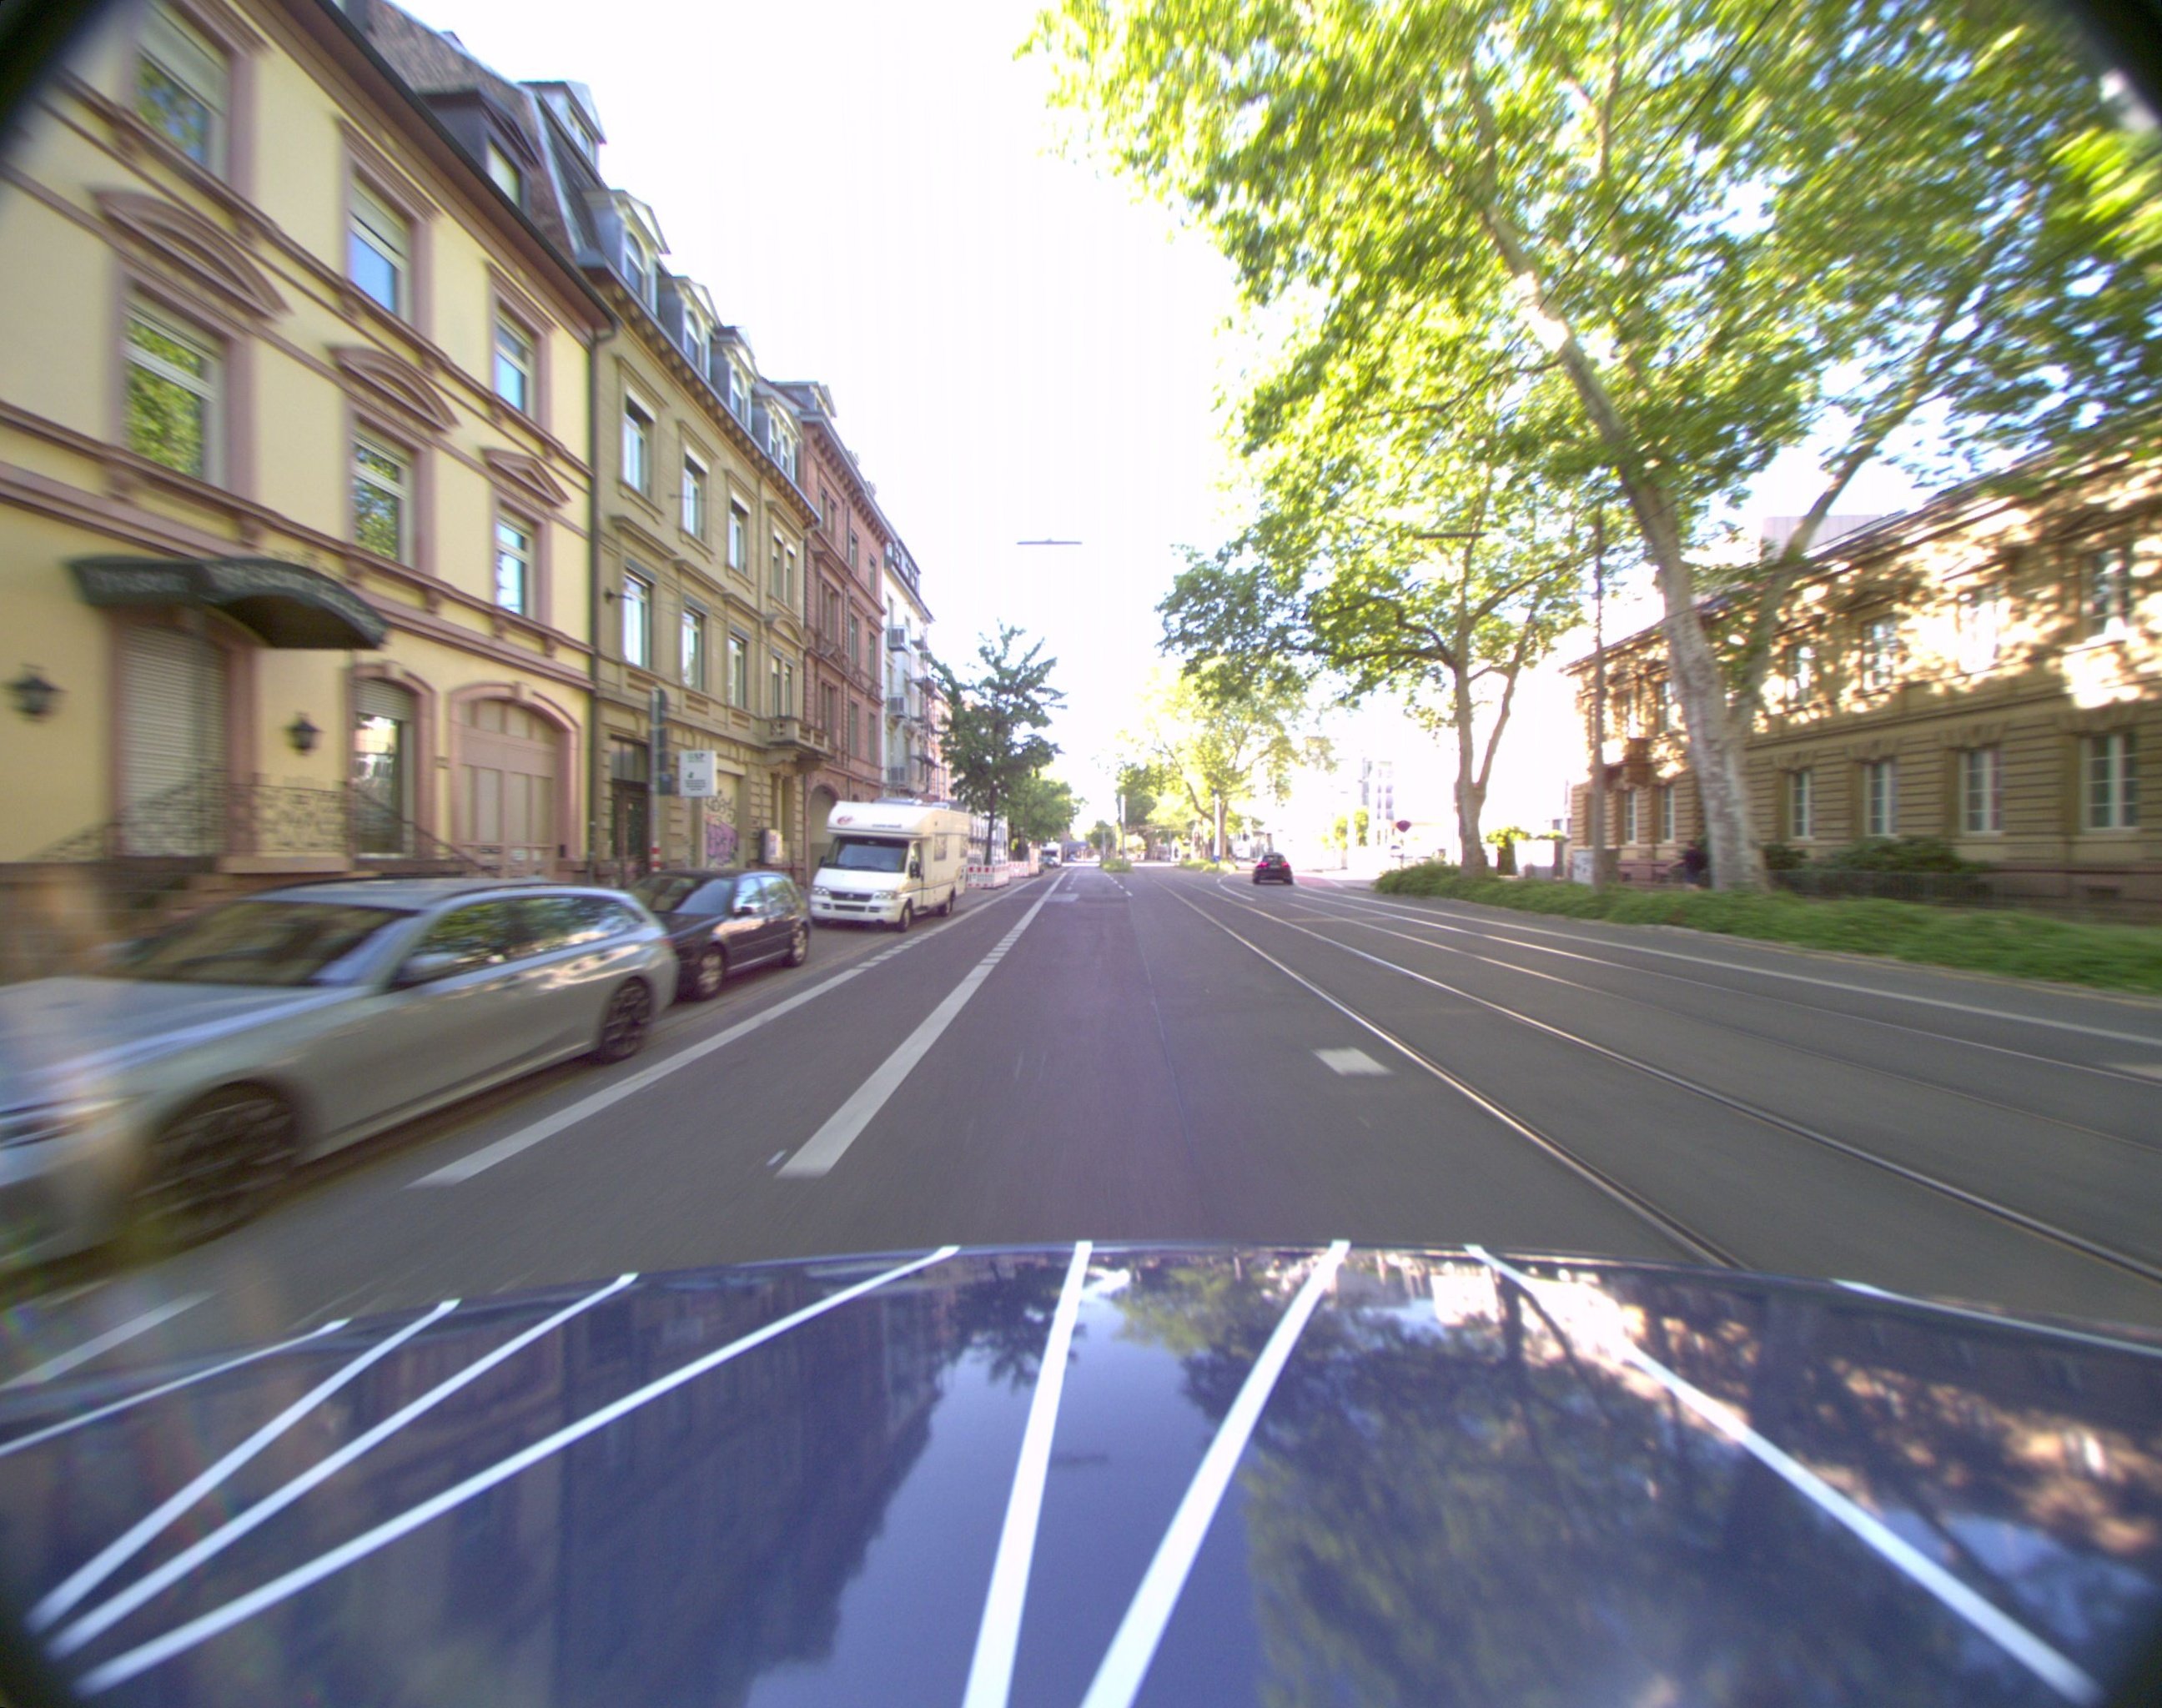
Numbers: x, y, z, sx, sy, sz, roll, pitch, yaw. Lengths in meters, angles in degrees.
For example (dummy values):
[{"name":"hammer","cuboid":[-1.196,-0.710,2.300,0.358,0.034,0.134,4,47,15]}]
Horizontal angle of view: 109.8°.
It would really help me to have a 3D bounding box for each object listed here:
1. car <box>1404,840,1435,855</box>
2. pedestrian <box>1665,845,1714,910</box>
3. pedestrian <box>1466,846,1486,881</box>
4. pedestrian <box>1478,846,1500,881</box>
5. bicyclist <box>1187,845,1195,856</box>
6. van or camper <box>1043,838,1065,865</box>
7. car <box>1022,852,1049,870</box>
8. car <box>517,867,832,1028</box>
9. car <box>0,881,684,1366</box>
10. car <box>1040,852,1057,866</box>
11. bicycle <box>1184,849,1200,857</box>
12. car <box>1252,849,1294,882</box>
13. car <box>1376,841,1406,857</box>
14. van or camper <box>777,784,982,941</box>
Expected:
[{"name":"car","cuboid":[37.979,-0.731,85.358,1.852,1.742,4.000,0,1,2]},{"name":"pedestrian","cuboid":[17.708,0.672,22.119,0.721,1.839,0.837,0,1,-6]},{"name":"pedestrian","cuboid":[19.257,0.455,37.068,0.635,1.687,0.656,0,1,-3]},{"name":"pedestrian","cuboid":[19.953,0.468,37.152,0.673,1.687,0.661,0,1,-6]},{"name":"bicyclist","cuboid":[15.576,-0.449,107.280,1.007,1.567,0.760,0,1,-1]},{"name":"van or camper","cuboid":[-3.256,-0.299,93.023,2.172,3.074,7.290,1,0,1]},{"name":"car","cuboid":[-3.909,0.573,65.626,1.767,1.475,4.110,1,0,3]},{"name":"car","cuboid":[-4.803,0.982,9.736,1.648,1.426,4.029,4,1,3]},{"name":"car","cuboid":[-4.569,1.007,4.591,1.814,1.426,4.664,1,1,1]},{"name":"car","cuboid":[-3.552,0.558,82.736,1.656,1.439,3.800,1,0,0]},{"name":"bicycle","cuboid":[15.670,-0.151,107.286,2.083,1.122,0.760,0,1,-1]},{"name":"car","cuboid":[9.935,0.574,39.568,1.869,1.620,4.564,1,0,11]},{"name":"car","cuboid":[35.136,-0.574,86.145,1.852,1.807,4.000,0,1,2]},{"name":"van or camper","cuboid":[-4.503,0.128,18.931,2.483,2.955,7.884,4,1,3]}]
